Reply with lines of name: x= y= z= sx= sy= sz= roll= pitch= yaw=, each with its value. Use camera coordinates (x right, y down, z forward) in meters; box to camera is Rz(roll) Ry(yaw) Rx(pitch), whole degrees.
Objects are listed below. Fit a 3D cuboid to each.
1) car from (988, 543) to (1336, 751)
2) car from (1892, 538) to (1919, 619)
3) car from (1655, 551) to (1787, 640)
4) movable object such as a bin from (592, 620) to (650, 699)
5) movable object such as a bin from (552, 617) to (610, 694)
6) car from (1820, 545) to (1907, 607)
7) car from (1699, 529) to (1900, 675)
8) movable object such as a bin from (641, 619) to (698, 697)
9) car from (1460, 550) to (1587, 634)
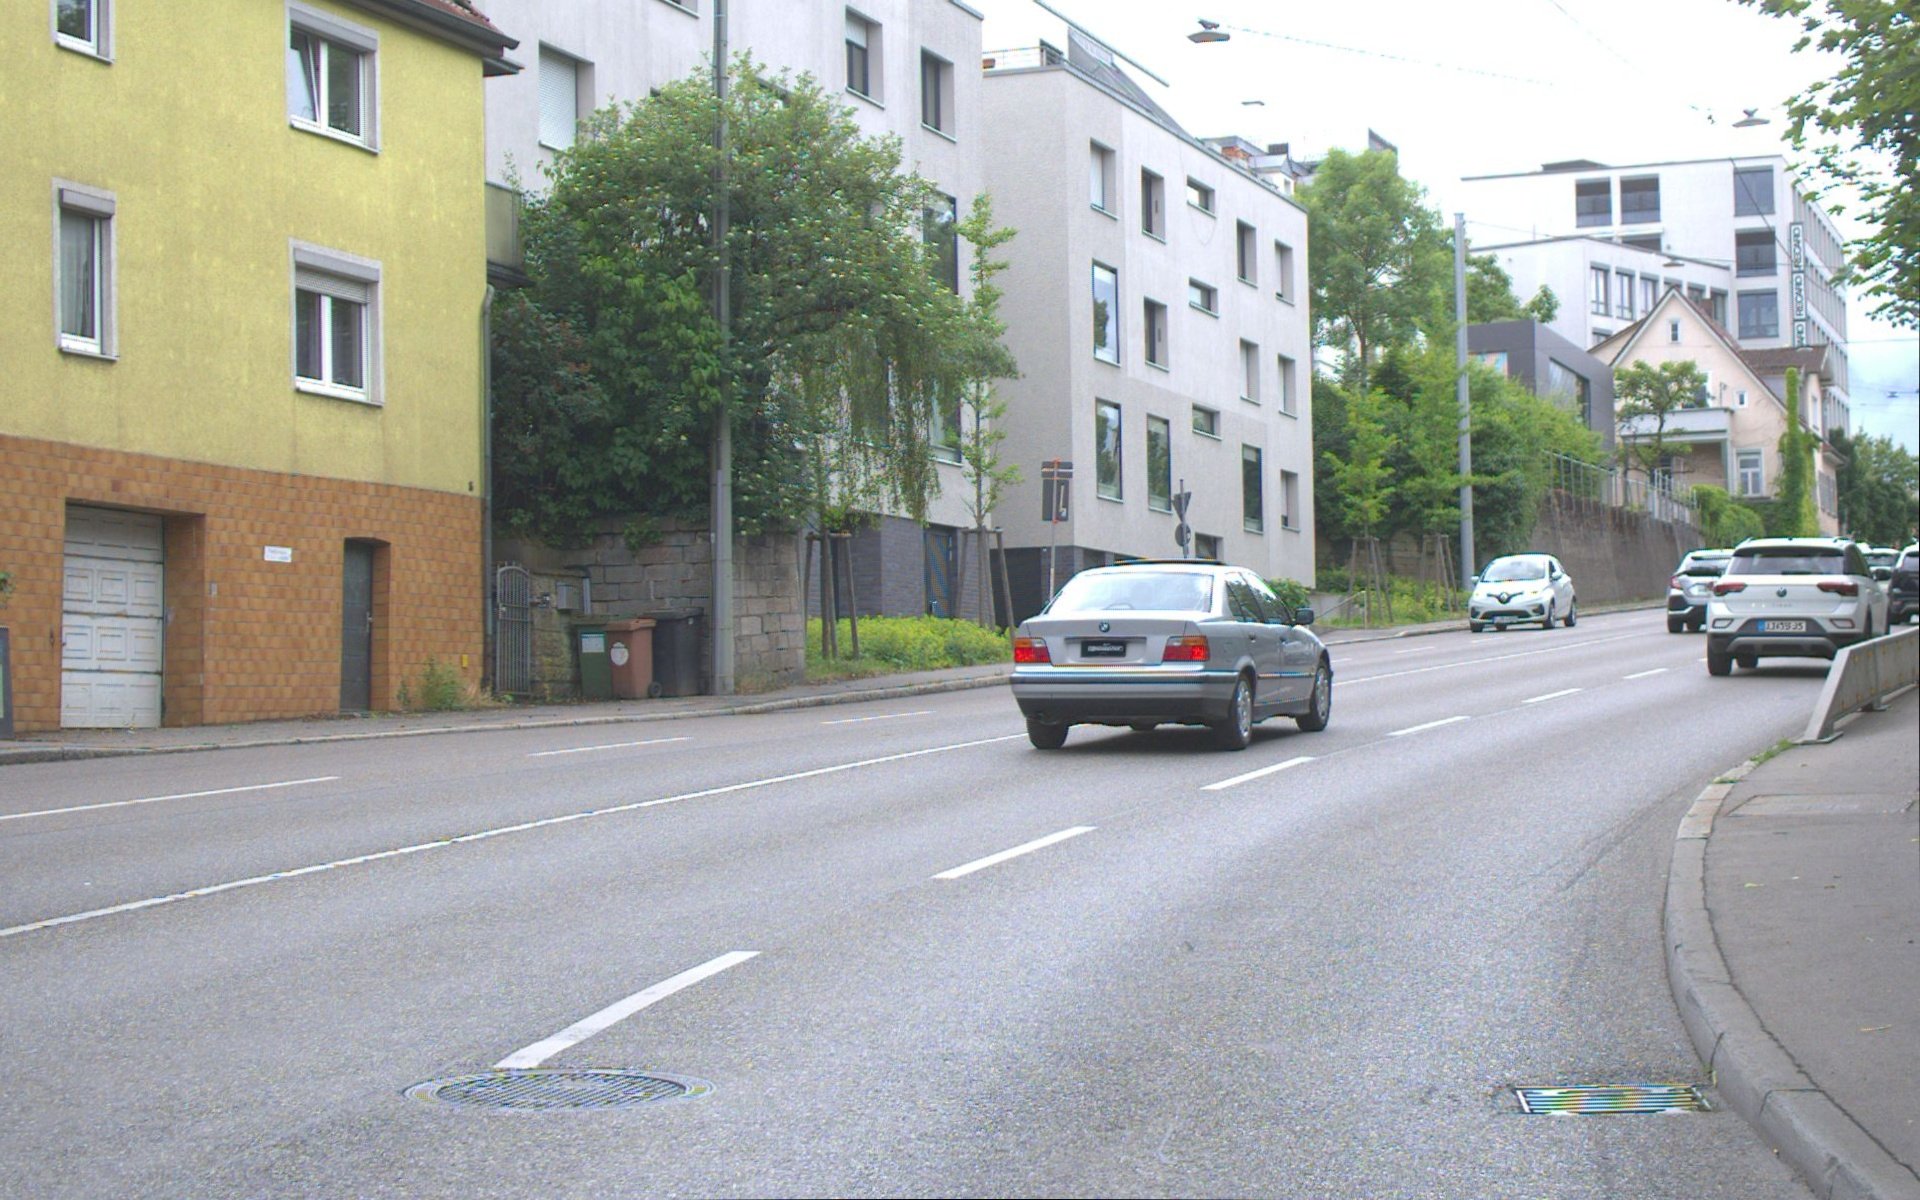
car: x=1.633 y=0.332 z=26.345 sx=1.708 sy=1.459 sz=3.996 roll=0 pitch=0 yaw=18
car: x=18.426 y=-0.371 z=64.041 sx=1.708 sy=1.459 sz=3.996 roll=2 pitch=1 yaw=20
car: x=13.255 y=-0.106 z=59.722 sx=1.708 sy=1.459 sz=3.996 roll=-1 pitch=0 yaw=20
movable object such as a bin: x=-3.939 y=0.687 z=40.001 sx=0.567 sy=0.882 sz=0.610 roll=1 pitch=1 yaw=4
movable object such as a bin: x=-4.484 y=0.650 z=40.708 sx=0.567 sy=0.882 sz=0.610 roll=1 pitch=1 yaw=4
car: x=22.451 y=-0.603 z=85.377 sx=1.708 sy=1.459 sz=3.996 roll=-1 pitch=0 yaw=20
car: x=9.723 y=0.016 z=39.645 sx=1.782 sy=1.574 sz=3.996 roll=1 pitch=0 yaw=20
movable object such as a bin: x=-3.404 y=0.679 z=40.266 sx=0.567 sy=0.882 sz=0.610 roll=1 pitch=1 yaw=4
car: x=11.872 y=-0.183 z=72.230 sx=1.746 sy=1.608 sz=4.052 roll=-3 pitch=0 yaw=21
